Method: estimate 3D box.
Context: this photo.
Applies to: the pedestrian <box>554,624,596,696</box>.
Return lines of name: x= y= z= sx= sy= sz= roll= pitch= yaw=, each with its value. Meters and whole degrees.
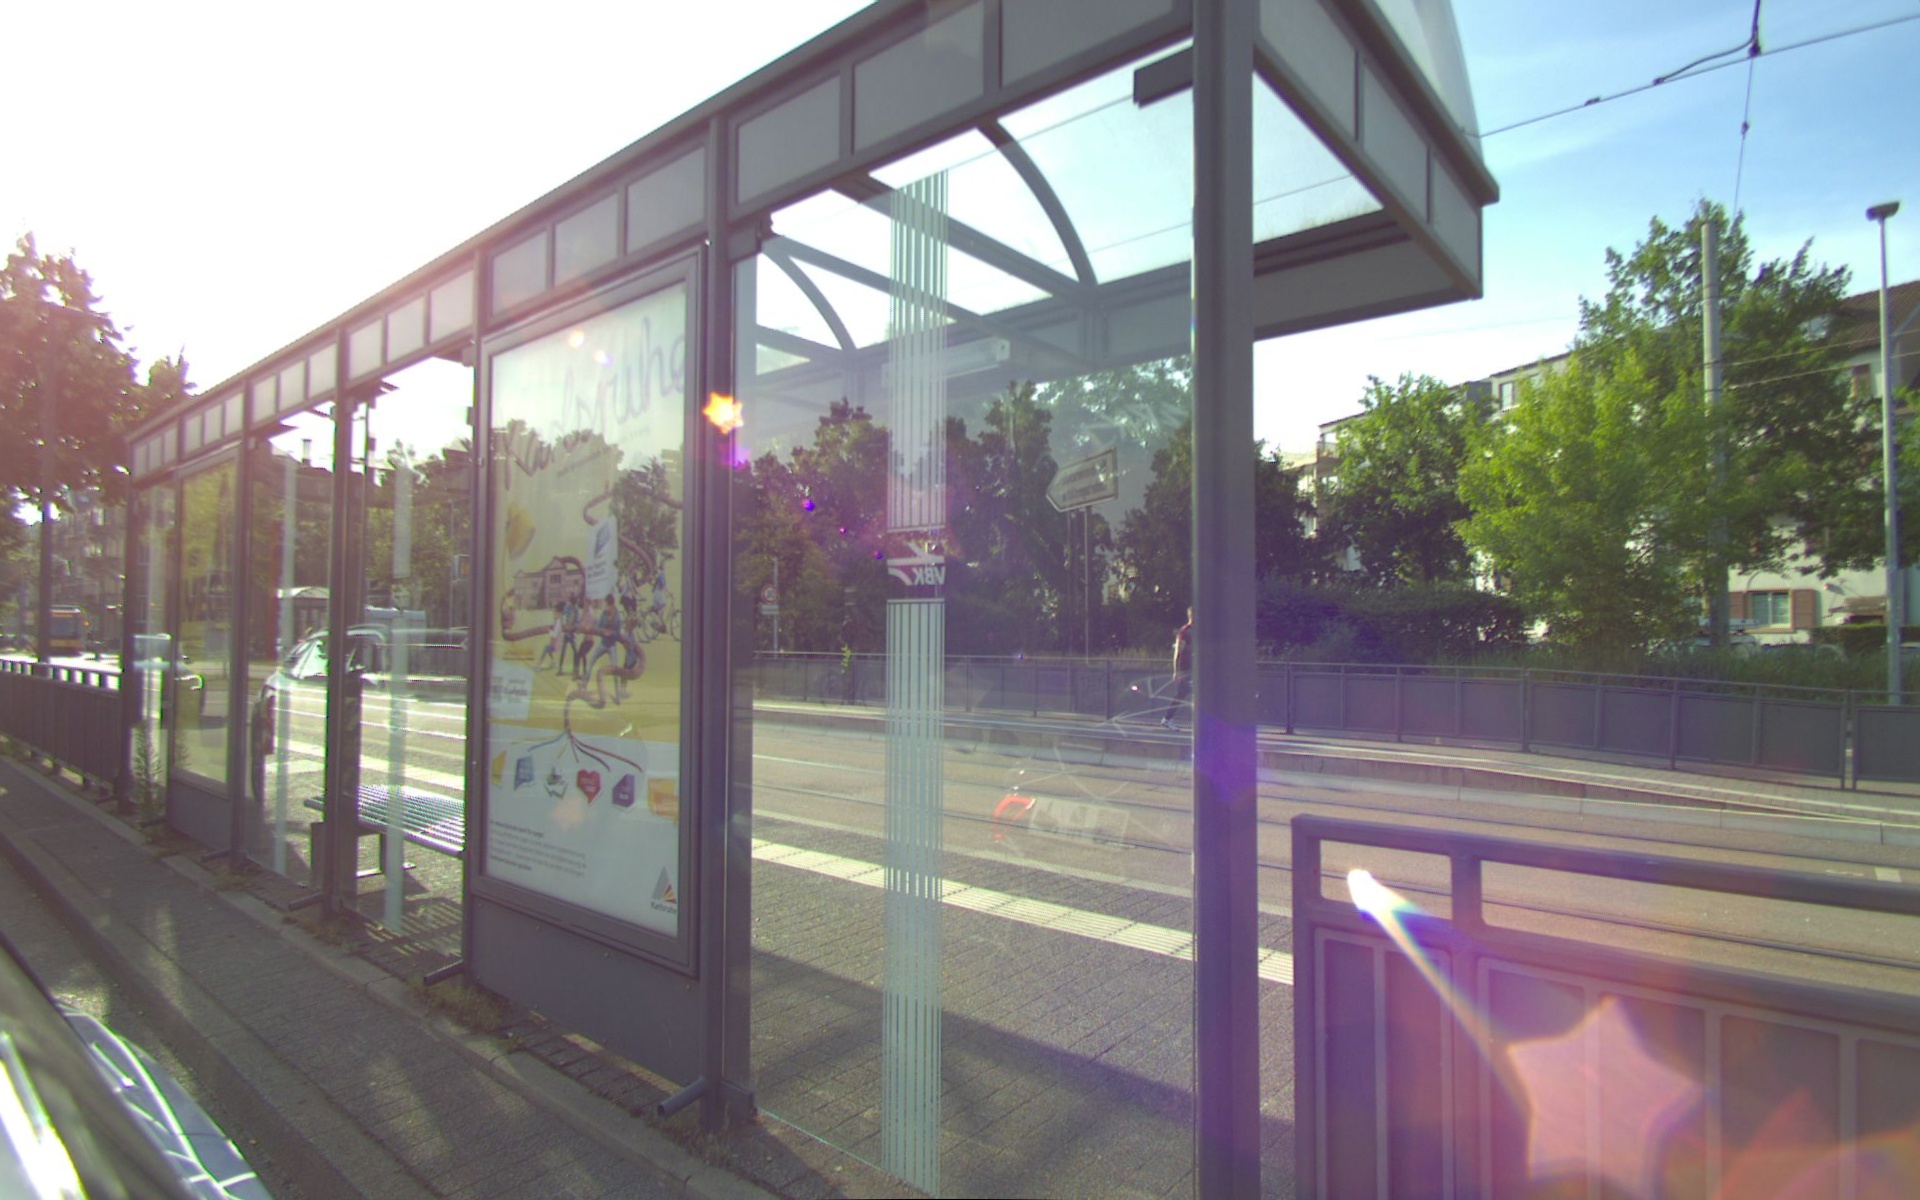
pedestrian: x=-9.301 y=1.446 z=24.470 sx=0.618 sy=1.697 sz=0.613 roll=-2 pitch=-7 yaw=41

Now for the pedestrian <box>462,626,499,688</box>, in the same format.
pedestrian: x=-13.505 y=1.614 z=28.511 sx=0.618 sy=1.697 sz=0.613 roll=-2 pitch=-7 yaw=41

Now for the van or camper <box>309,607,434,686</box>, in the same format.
van or camper: x=-24.249 y=1.813 z=41.577 sx=6.408 sy=2.990 sz=2.494 roll=-1 pitch=-1 yaw=41

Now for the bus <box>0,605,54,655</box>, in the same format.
bus: x=-68.226 y=2.136 z=73.566 sx=9.257 sy=3.461 sz=2.405 roll=-1 pitch=-1 yaw=41

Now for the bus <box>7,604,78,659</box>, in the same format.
bus: x=-61.244 y=2.019 z=67.475 sx=9.257 sy=3.461 sz=2.405 roll=-1 pitch=-1 yaw=41

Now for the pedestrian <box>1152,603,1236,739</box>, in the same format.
pedestrian: x=3.027 y=0.915 z=13.098 sx=0.877 sy=1.697 sz=0.547 roll=-2 pitch=-7 yaw=41

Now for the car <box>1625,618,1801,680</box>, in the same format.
car: x=19.411 y=1.278 z=26.098 sx=3.930 sy=1.497 sz=1.854 roll=2 pitch=-3 yaw=-23
